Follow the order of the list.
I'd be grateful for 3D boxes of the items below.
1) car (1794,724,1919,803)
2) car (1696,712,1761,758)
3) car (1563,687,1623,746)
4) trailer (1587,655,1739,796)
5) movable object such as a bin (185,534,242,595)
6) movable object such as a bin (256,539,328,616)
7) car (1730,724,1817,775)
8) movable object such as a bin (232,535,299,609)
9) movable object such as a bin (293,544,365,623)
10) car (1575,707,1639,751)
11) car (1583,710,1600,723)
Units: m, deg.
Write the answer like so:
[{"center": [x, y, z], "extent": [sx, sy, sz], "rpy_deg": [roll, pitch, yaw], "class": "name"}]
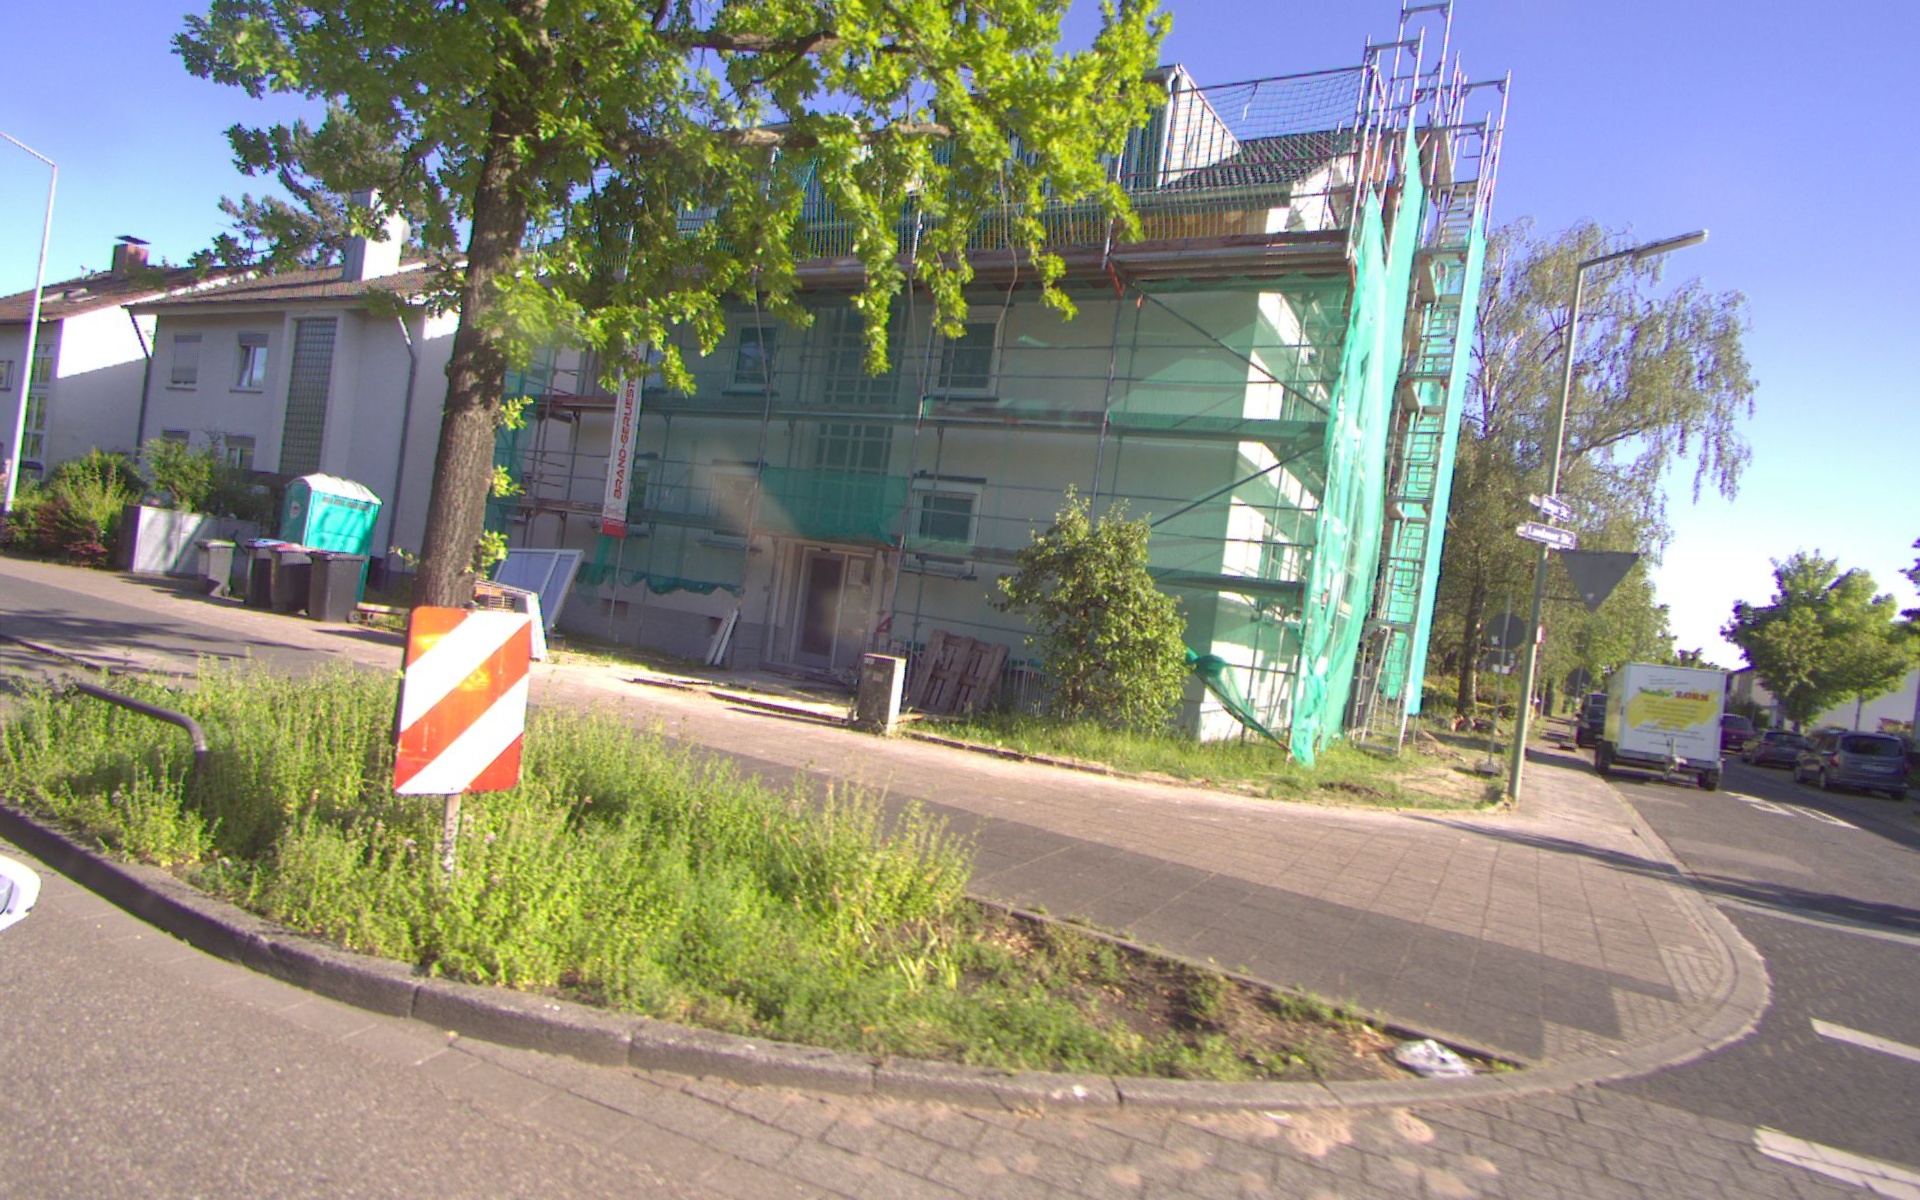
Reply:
[{"center": [26.231, 4.708, 29.501], "extent": [1.856, 1.797, 3.921], "rpy_deg": [9, -2, 30], "class": "car"}, {"center": [38.592, 6.763, 50.615], "extent": [1.856, 1.903, 3.921], "rpy_deg": [9, -1, 30], "class": "car"}, {"center": [24.477, 4.508, 38.973], "extent": [1.581, 1.925, 3.152], "rpy_deg": [9, -1, 30], "class": "car"}, {"center": [15.762, 2.737, 22.842], "extent": [2.050, 2.563, 4.964], "rpy_deg": [7, -1, 29], "class": "trailer"}, {"center": [-12.742, -0.599, 17.167], "extent": [0.540, 0.943, 0.530], "rpy_deg": [7, 0, 29], "class": "movable object such as a bin"}, {"center": [-10.323, -0.342, 15.558], "extent": [0.635, 1.082, 0.605], "rpy_deg": [7, 0, 29], "class": "movable object such as a bin"}, {"center": [32.125, 5.864, 39.833], "extent": [1.856, 1.605, 3.921], "rpy_deg": [9, -2, 30], "class": "car"}, {"center": [-11.111, -0.448, 16.096], "extent": [0.557, 1.082, 0.605], "rpy_deg": [7, 0, 29], "class": "movable object such as a bin"}, {"center": [-9.553, -0.246, 15.233], "extent": [0.635, 1.082, 0.605], "rpy_deg": [7, 0, 29], "class": "movable object such as a bin"}, {"center": [22.859, 4.544, 35.635], "extent": [1.581, 1.208, 3.242], "rpy_deg": [9, -2, 30], "class": "car"}, {"center": [95.743, 17.736, 152.525], "extent": [1.856, 1.626, 3.921], "rpy_deg": [9, -2, 30], "class": "car"}]
